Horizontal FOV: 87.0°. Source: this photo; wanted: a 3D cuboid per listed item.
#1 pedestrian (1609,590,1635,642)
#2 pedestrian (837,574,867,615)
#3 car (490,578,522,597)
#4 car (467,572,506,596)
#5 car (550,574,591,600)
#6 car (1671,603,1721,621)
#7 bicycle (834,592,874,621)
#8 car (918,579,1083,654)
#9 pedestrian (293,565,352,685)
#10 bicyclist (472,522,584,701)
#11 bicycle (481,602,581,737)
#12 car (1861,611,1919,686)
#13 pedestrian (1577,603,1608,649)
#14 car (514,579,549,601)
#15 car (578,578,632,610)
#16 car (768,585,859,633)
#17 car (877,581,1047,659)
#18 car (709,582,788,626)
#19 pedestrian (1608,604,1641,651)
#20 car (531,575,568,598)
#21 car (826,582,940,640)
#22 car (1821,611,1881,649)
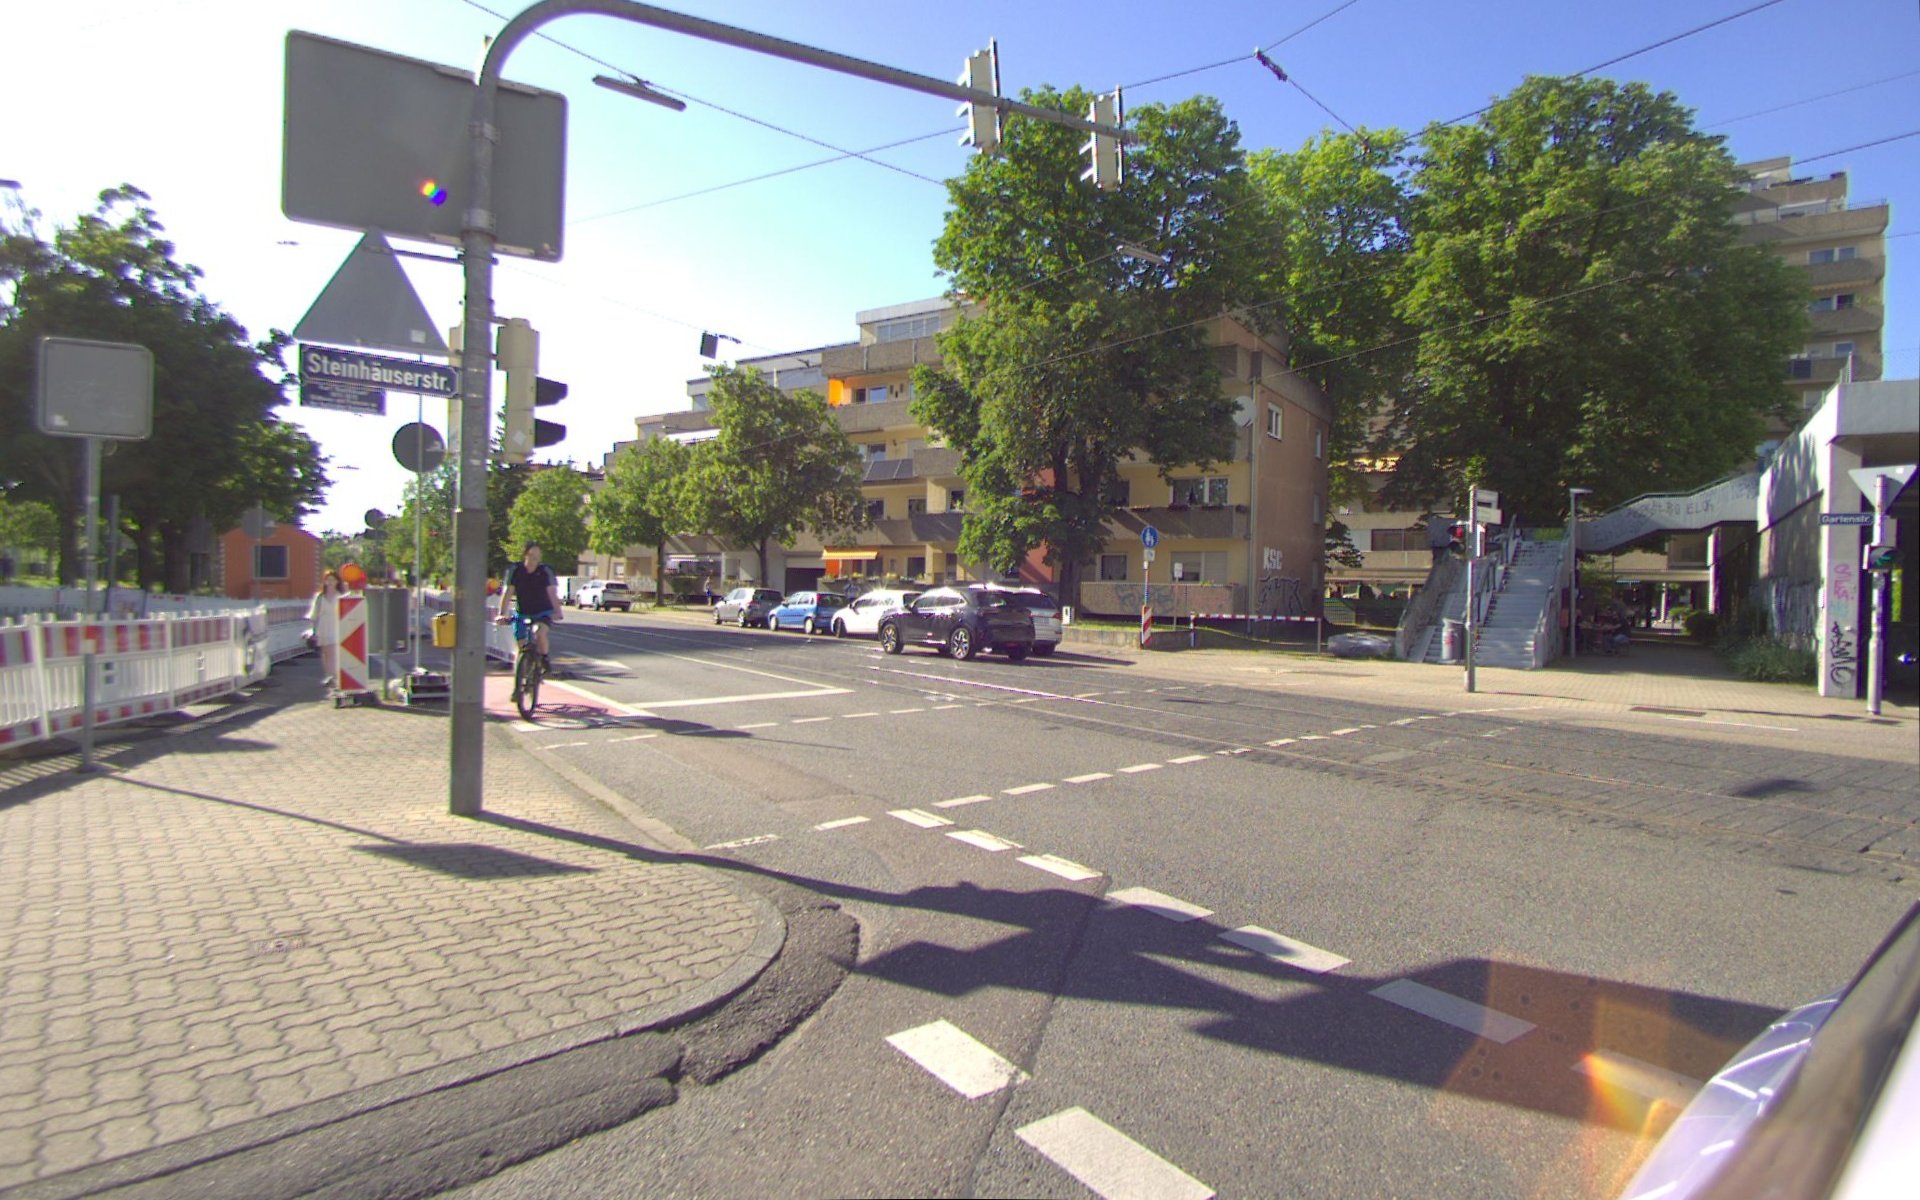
[{"bbox_3d":[21.954,0.521,33.570,0.652,1.712,0.583,1,0,29],"label":"pedestrian"},{"bbox_3d":[-4.288,-0.220,40.151,0.860,1.572,0.935,1,0,-27],"label":"pedestrian"},{"bbox_3d":[-36.449,-1.015,81.164,1.730,1.474,3.695,1,1,-34],"label":"car"},{"bbox_3d":[-31.467,-1.071,67.162,1.775,1.520,3.878,1,1,-34],"label":"car"},{"bbox_3d":[-26.205,-0.901,68.040,1.775,1.696,3.878,1,1,-34],"label":"car"},{"bbox_3d":[69.370,1.115,95.427,1.641,1.504,3.574,1,1,-43],"label":"car"},{"bbox_3d":[-4.204,0.248,40.008,0.793,1.074,2.196,1,1,-27],"label":"bicycle"},{"bbox_3d":[0.922,0.345,25.627,1.899,1.640,4.323,1,1,-36],"label":"car"},{"bbox_3d":[-8.870,0.339,14.101,0.622,1.621,0.640,1,0,-28],"label":"pedestrian"},{"bbox_3d":[-4.787,0.111,11.193,0.897,1.853,1.096,2,0,-34],"label":"bicyclist"},{"bbox_3d":[-4.687,0.701,10.988,0.642,1.282,1.785,2,0,-34],"label":"bicycle"},{"bbox_3d":[22.403,1.068,23.217,1.946,1.575,4.977,1,0,35],"label":"car"},{"bbox_3d":[18.659,0.746,29.870,0.734,1.315,0.607,1,0,29],"label":"pedestrian"},{"bbox_3d":[-32.783,-0.799,77.381,1.730,1.574,3.695,1,2,-34],"label":"car"},{"bbox_3d":[-19.199,-0.337,54.664,1.776,1.567,3.537,3,0,-36],"label":"car"},{"bbox_3d":[-4.949,0.271,33.954,1.635,1.423,3.292,3,0,-36],"label":"car"},{"bbox_3d":[-0.027,0.377,22.025,1.755,1.536,3.752,1,0,-38],"label":"car"},{"bbox_3d":[-7.945,0.141,37.825,1.457,1.479,3.367,3,0,-39],"label":"car"},{"bbox_3d":[19.344,0.783,29.478,0.718,1.315,0.583,1,0,29],"label":"pedestrian"},{"bbox_3d":[-29.465,-1.006,72.572,1.730,1.574,3.695,1,1,-34],"label":"car"},{"bbox_3d":[-2.363,0.304,30.436,1.626,1.551,3.504,3,0,-40],"label":"car"},{"bbox_3d":[40.067,1.311,45.578,1.608,1.574,3.961,2,1,36],"label":"car"}]
